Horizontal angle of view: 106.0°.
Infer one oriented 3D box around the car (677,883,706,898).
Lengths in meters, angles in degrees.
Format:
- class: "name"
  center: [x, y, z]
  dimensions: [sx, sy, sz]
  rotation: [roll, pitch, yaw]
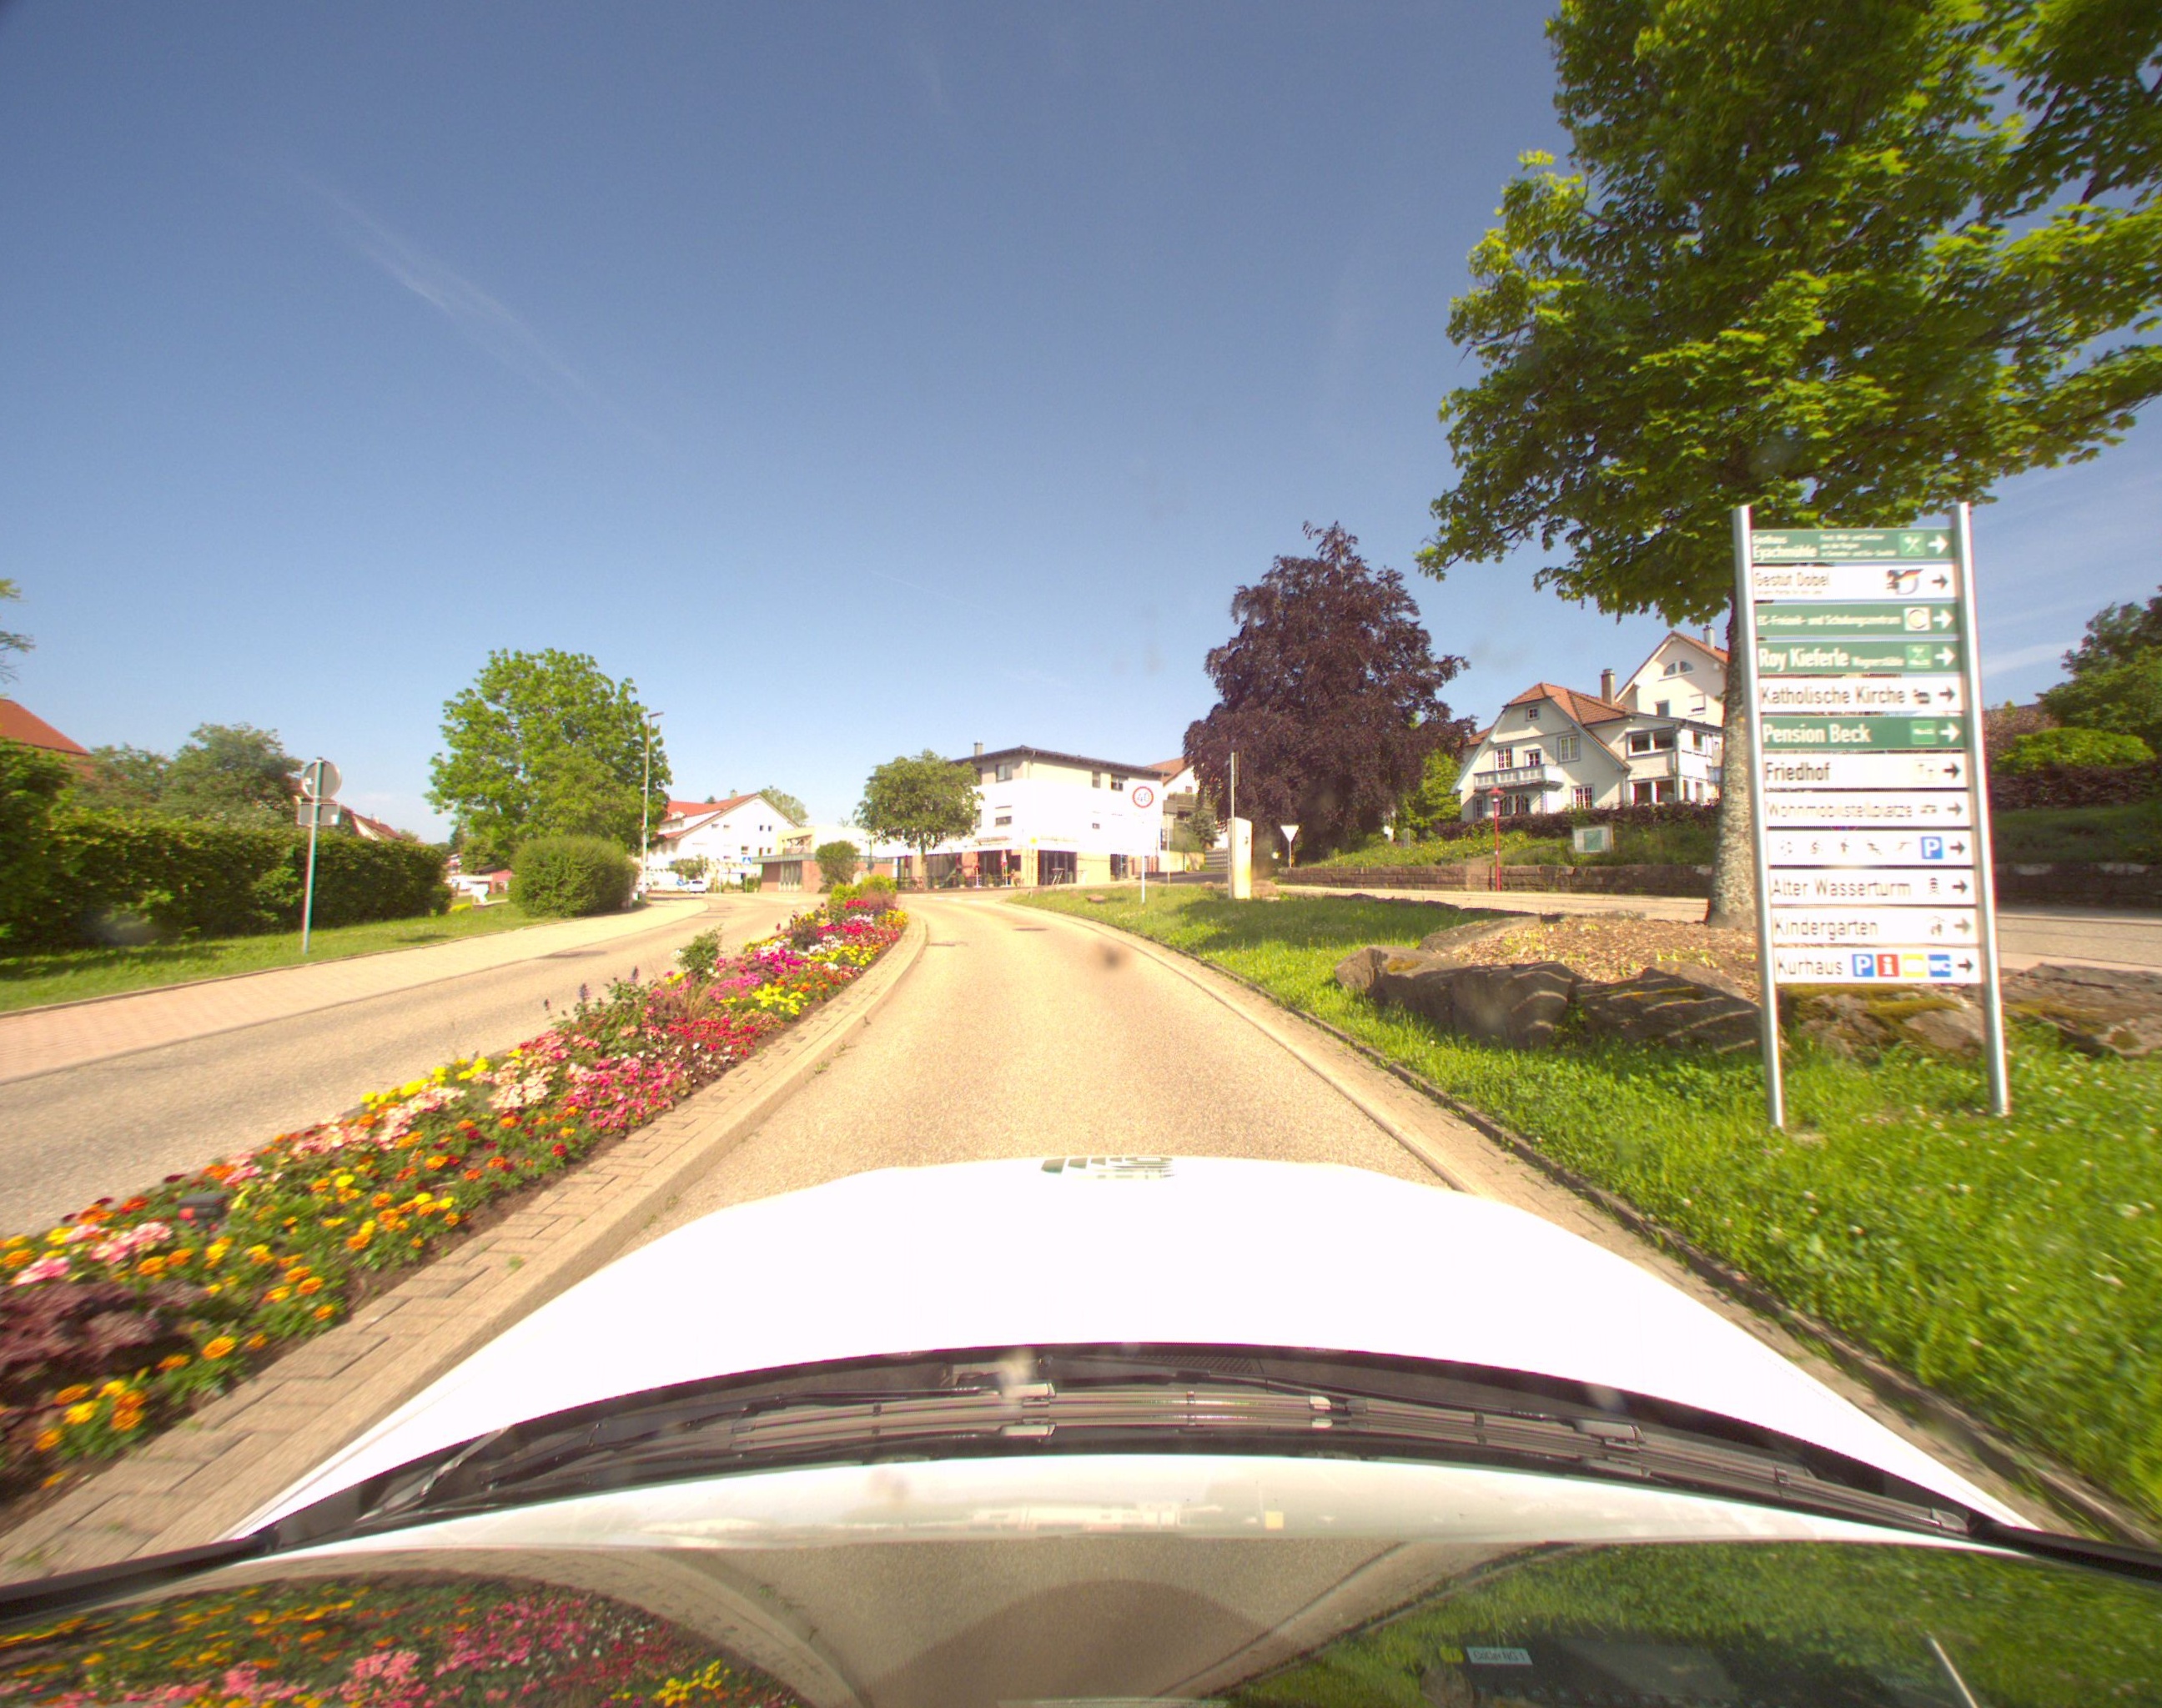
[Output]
- class: "car"
  center: [-40.831, 3.862, 85.384]
  dimensions: [1.775, 1.423, 3.590]
  rotation: [-1, -2, -41]
